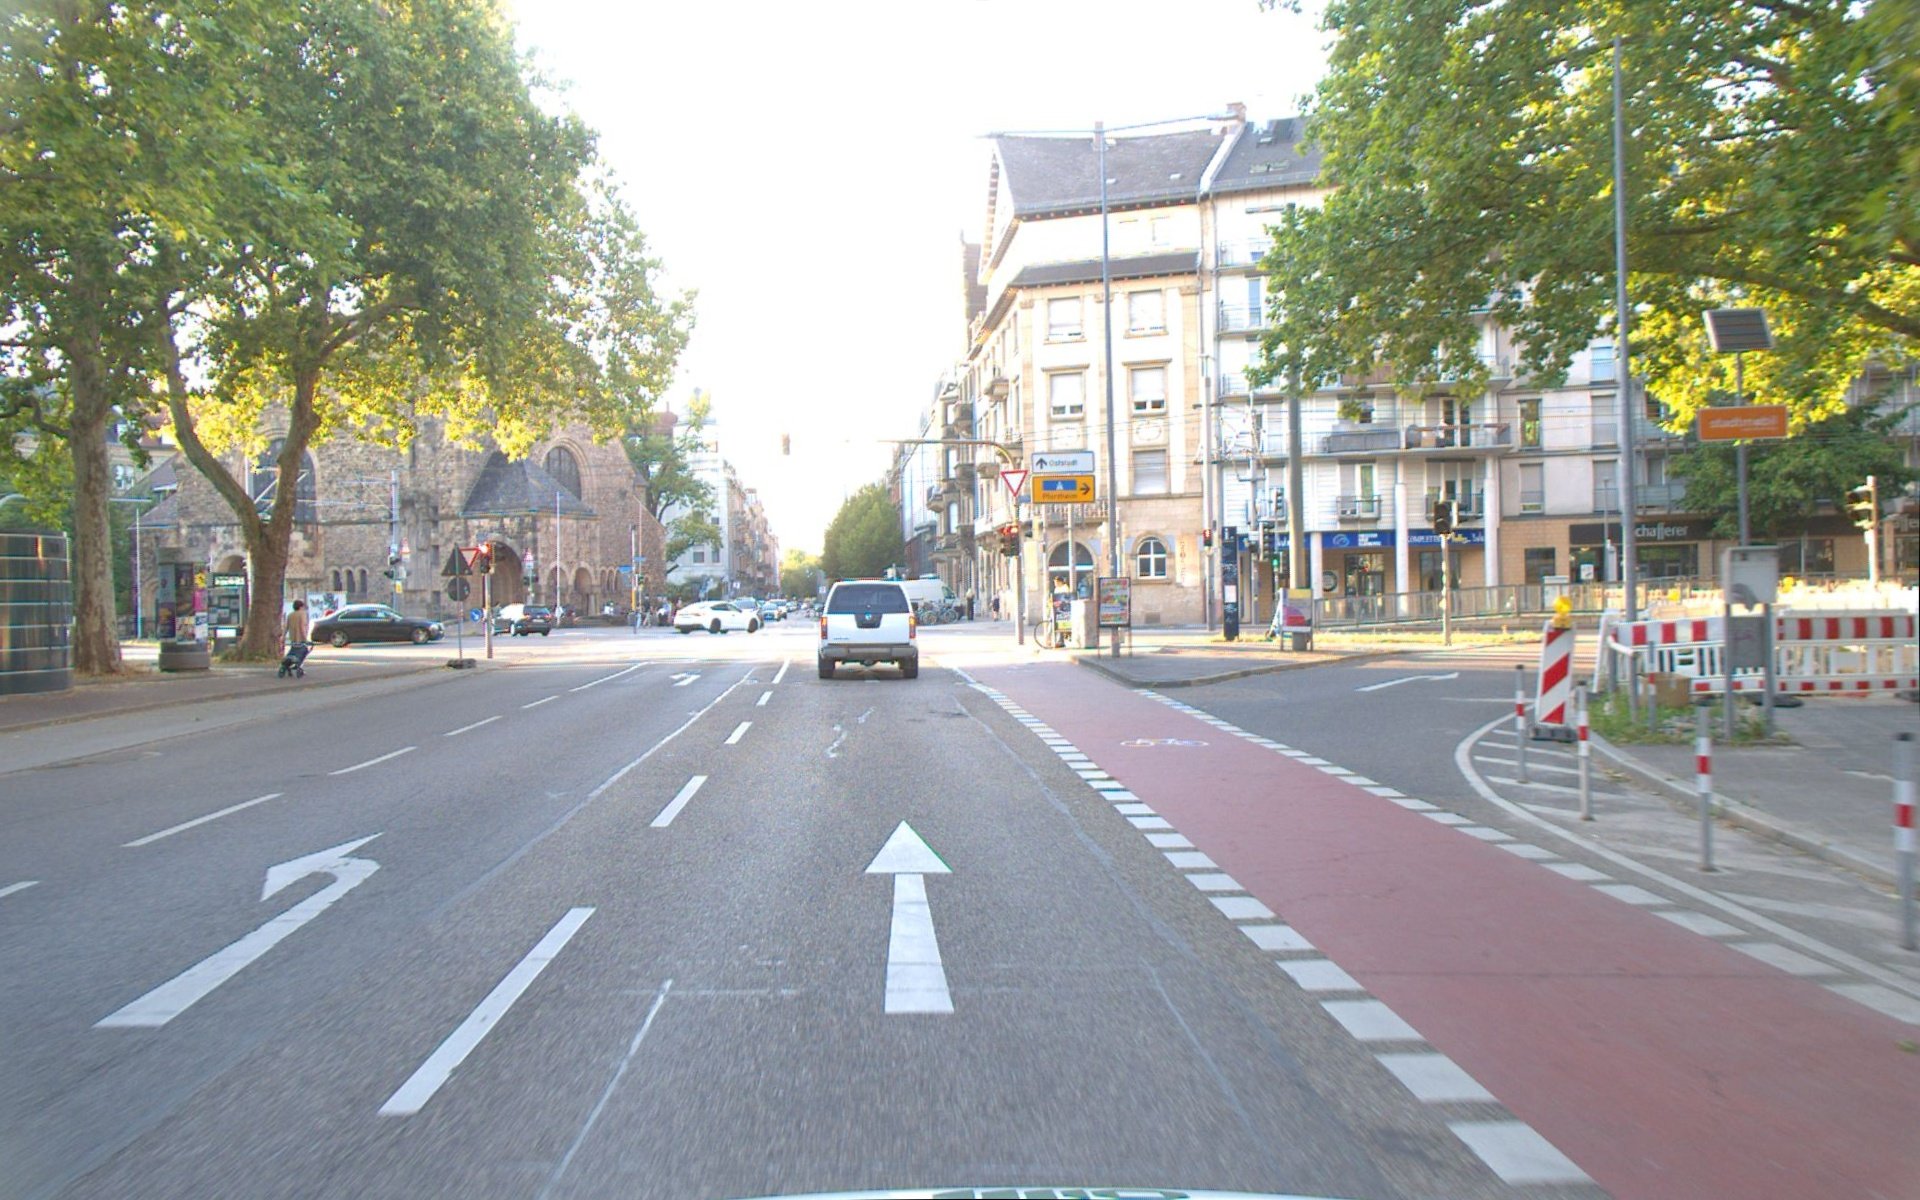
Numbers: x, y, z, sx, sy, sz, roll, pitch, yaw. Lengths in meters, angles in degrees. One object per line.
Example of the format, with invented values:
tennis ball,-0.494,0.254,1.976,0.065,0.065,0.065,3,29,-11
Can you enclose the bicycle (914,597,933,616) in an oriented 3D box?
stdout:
bicycle,-1.985,0.364,89.817,0.532,0.985,1.923,-1,0,13

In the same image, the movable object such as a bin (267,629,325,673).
movable object such as a bin,-14.168,1.084,35.302,0.722,0.906,0.983,-1,0,11

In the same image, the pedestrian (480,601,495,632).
pedestrian,-24.661,0.863,86.379,0.544,1.612,0.549,-1,0,6

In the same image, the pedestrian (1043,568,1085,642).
pedestrian,2.560,0.113,40.731,0.782,1.799,0.717,-1,0,-18

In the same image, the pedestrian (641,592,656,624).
pedestrian,-18.745,0.501,99.500,0.640,1.919,0.586,-1,0,14

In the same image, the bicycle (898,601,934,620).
bicycle,-2.357,0.564,88.497,1.876,0.985,0.545,-1,0,-3

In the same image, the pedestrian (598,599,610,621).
pedestrian,-22.124,0.626,102.859,0.560,1.313,0.487,-1,0,11

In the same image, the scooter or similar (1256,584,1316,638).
scooter or similar,7.870,0.274,39.956,0.541,1.272,1.370,-1,0,-40

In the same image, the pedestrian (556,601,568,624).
pedestrian,-23.674,0.750,98.383,0.560,1.343,0.487,-1,0,11

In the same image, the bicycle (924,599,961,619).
bicycle,-0.928,0.458,87.062,1.876,0.985,0.545,-1,0,-3

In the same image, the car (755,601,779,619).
car,-16.882,0.850,144.830,1.956,1.533,3.814,0,0,-9

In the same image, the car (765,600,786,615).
car,-19.070,0.732,170.890,1.956,1.533,3.814,0,0,-9

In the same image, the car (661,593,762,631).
car,-10.978,0.510,73.348,1.956,1.556,4.635,-1,0,30

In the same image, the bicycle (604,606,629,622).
bicycle,-21.591,0.879,103.993,1.467,0.985,0.395,-1,0,7

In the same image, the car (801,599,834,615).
car,-17.279,0.846,200.293,3.911,1.847,1.997,-1,0,-7

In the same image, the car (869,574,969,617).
car,-2.289,-0.259,93.516,5.779,2.328,2.039,-1,0,-44

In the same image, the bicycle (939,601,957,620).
bicycle,-0.654,0.574,89.456,0.532,0.985,1.923,-1,0,13

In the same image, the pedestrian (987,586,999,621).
pedestrian,1.721,0.187,85.803,0.581,1.799,0.653,-1,0,1

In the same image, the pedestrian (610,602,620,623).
pedestrian,-21.452,0.778,102.828,0.481,1.309,0.499,-1,0,-4

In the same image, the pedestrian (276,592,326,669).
pedestrian,-14.354,0.660,36.035,0.722,1.657,0.686,-1,0,11

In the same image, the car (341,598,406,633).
car,-34.260,0.891,96.758,1.672,1.943,3.495,-1,0,22

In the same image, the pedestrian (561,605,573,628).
pedestrian,-23.135,0.962,97.372,0.487,1.309,0.493,-1,0,16

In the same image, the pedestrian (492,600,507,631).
pedestrian,-24.054,0.806,86.383,0.544,1.612,0.549,-1,0,6

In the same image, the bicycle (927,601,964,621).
bicycle,-0.768,0.573,87.307,1.876,0.985,0.545,-1,0,-3

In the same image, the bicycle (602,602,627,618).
bicycle,-21.636,0.625,103.619,1.467,0.985,0.395,-1,0,7

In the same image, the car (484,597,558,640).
car,-20.573,0.847,77.353,2.059,1.873,4.580,-2,1,-32

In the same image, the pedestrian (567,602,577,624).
pedestrian,-23.028,0.756,98.188,0.491,1.303,0.489,-1,0,-25

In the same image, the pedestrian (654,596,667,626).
pedestrian,-19.242,0.710,106.320,0.580,1.919,0.554,-1,0,13

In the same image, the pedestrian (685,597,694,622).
pedestrian,-21.282,0.762,130.090,0.540,1.919,0.596,-1,0,11

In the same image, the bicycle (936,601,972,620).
bicycle,-0.321,0.578,88.104,1.874,0.985,0.546,-1,0,13

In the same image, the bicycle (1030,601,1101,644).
bicycle,2.564,0.545,40.232,1.660,0.985,0.545,-1,0,-8

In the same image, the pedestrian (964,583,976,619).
pedestrian,0.538,0.073,88.725,0.581,1.919,0.647,-1,0,1

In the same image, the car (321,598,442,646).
car,-21.983,0.810,63.011,4.183,1.680,1.991,-1,0,-17

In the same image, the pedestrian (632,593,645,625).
pedestrian,-19.371,0.556,99.686,0.580,1.919,0.554,-1,0,15

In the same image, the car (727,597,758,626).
car,-12.869,0.663,97.805,1.748,1.680,3.814,0,0,-9

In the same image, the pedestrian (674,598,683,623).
pedestrian,-22.064,0.797,129.565,0.545,1.919,0.590,-1,0,-27

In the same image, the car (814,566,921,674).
car,-1.707,0.352,31.188,1.828,1.846,3.998,-2,0,-2

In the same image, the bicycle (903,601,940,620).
bicycle,-2.037,0.565,87.702,1.880,0.985,0.544,-1,0,-10
